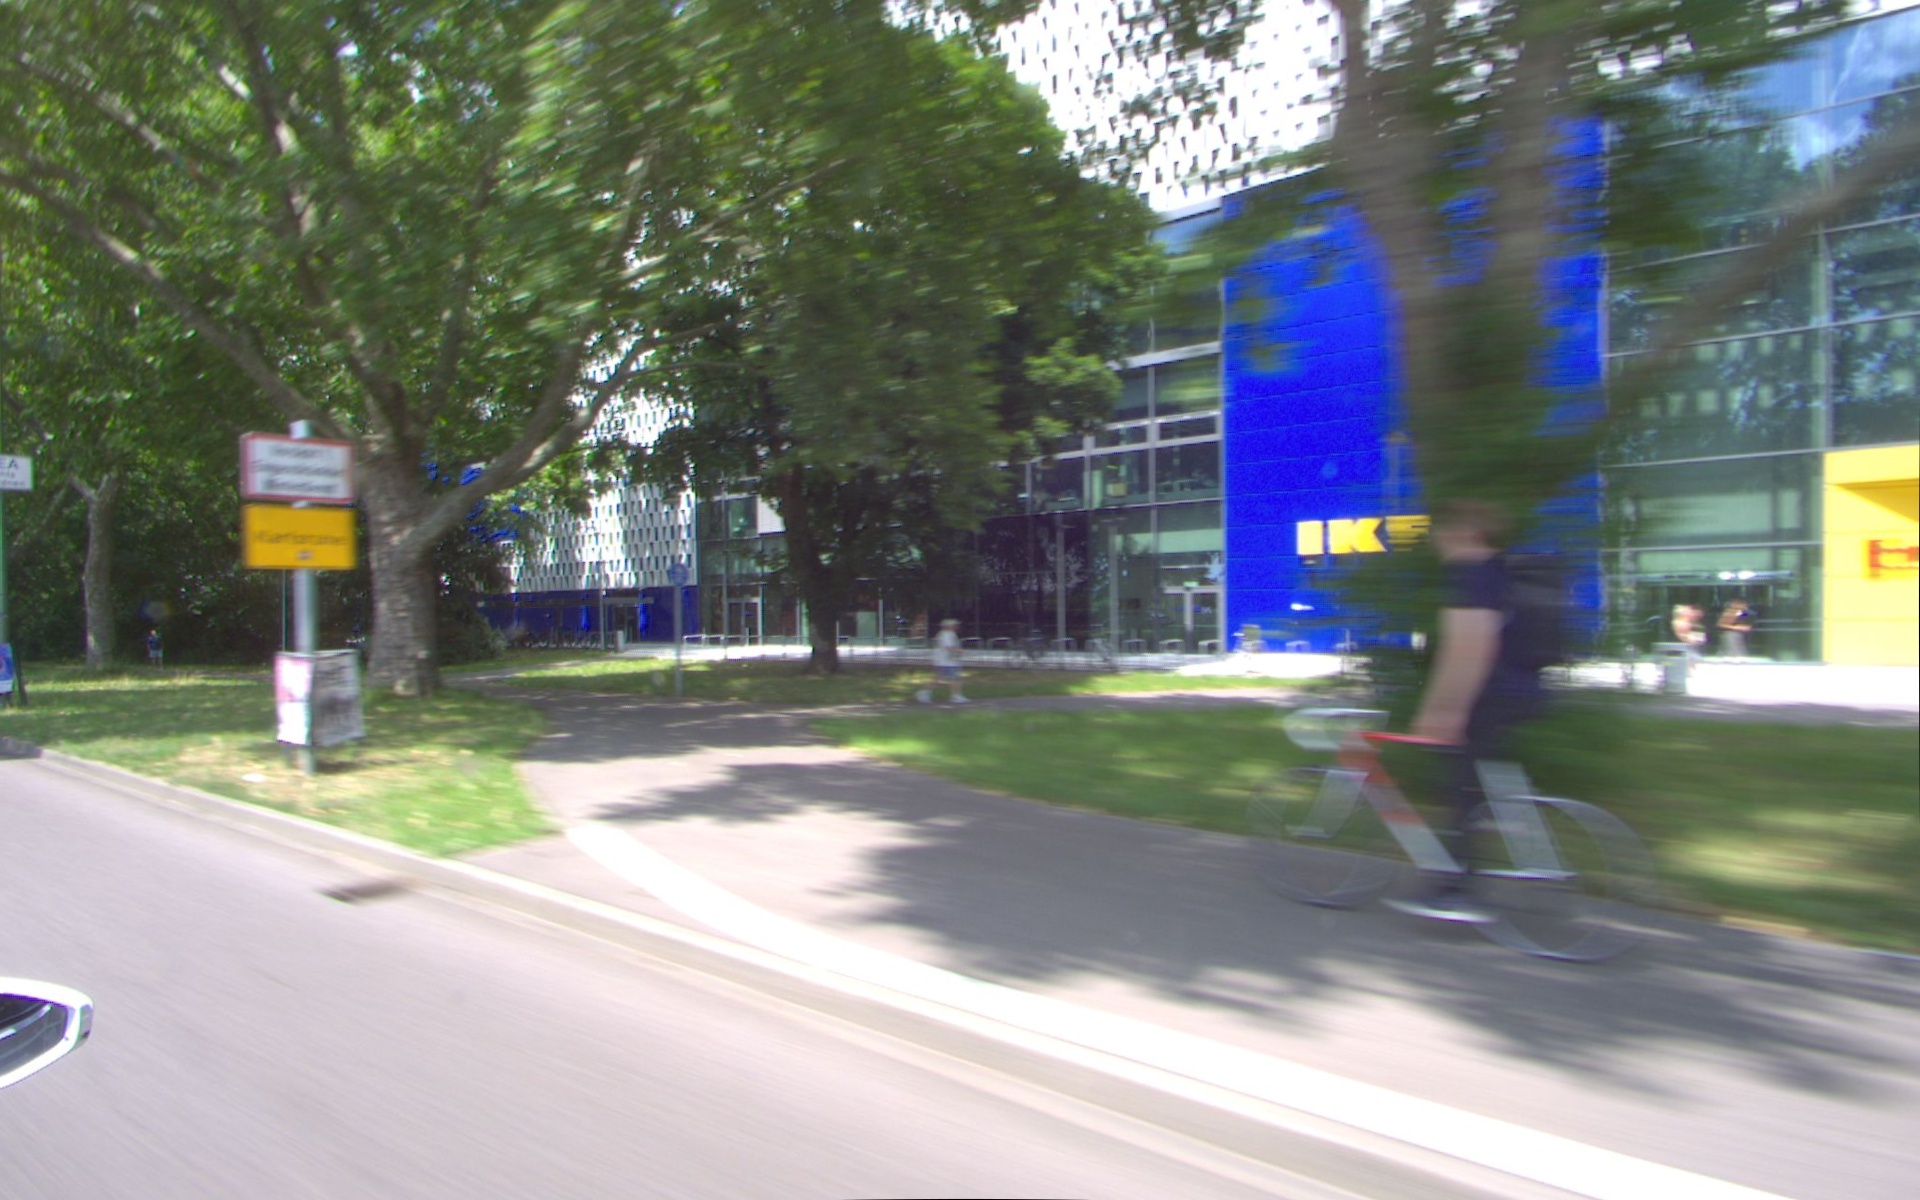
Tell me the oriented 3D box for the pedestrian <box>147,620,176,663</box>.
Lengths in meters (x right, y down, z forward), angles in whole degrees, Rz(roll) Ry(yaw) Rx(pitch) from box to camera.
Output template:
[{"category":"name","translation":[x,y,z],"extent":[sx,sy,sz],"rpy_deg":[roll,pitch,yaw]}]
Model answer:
[{"category":"pedestrian","translation":[-37.786,1.965,47.401],"extent":[0.944,2.039,0.833],"rpy_deg":[-1,-2,37]}]

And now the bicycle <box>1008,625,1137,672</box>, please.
[{"category":"bicycle","translation":[3.271,1.370,28.952],"extent":[3.779,1.191,0.982],"rpy_deg":[-1,0,-27]}]

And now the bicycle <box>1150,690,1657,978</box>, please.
[{"category":"bicycle","translation":[1.917,0.939,4.565],"extent":[2.000,1.011,0.617],"rpy_deg":[-4,-3,40]}]

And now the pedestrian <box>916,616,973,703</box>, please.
[{"category":"pedestrian","translation":[-0.316,1.195,20.425],"extent":[0.880,1.717,0.772],"rpy_deg":[-1,-1,39]}]

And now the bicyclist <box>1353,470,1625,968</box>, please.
[{"category":"bicyclist","translation":[2.257,0.464,4.291],"extent":[0.913,1.869,0.607],"rpy_deg":[-1,-2,39]}]

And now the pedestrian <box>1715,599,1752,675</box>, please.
[{"category":"pedestrian","translation":[17.714,0.845,22.931],"extent":[0.534,1.723,0.420],"rpy_deg":[0,0,-14]}]

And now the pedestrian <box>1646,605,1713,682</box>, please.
[{"category":"pedestrian","translation":[16.223,0.989,22.607],"extent":[0.770,1.684,0.888],"rpy_deg":[-1,-3,-1]}]

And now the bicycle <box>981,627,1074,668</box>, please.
[{"category":"bicycle","translation":[2.072,1.430,30.595],"extent":[2.735,1.136,0.893],"rpy_deg":[-1,0,-27]}]

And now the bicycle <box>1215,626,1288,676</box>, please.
[{"category":"bicycle","translation":[7.716,1.310,26.415],"extent":[2.502,1.191,0.687],"rpy_deg":[-1,1,-44]}]
